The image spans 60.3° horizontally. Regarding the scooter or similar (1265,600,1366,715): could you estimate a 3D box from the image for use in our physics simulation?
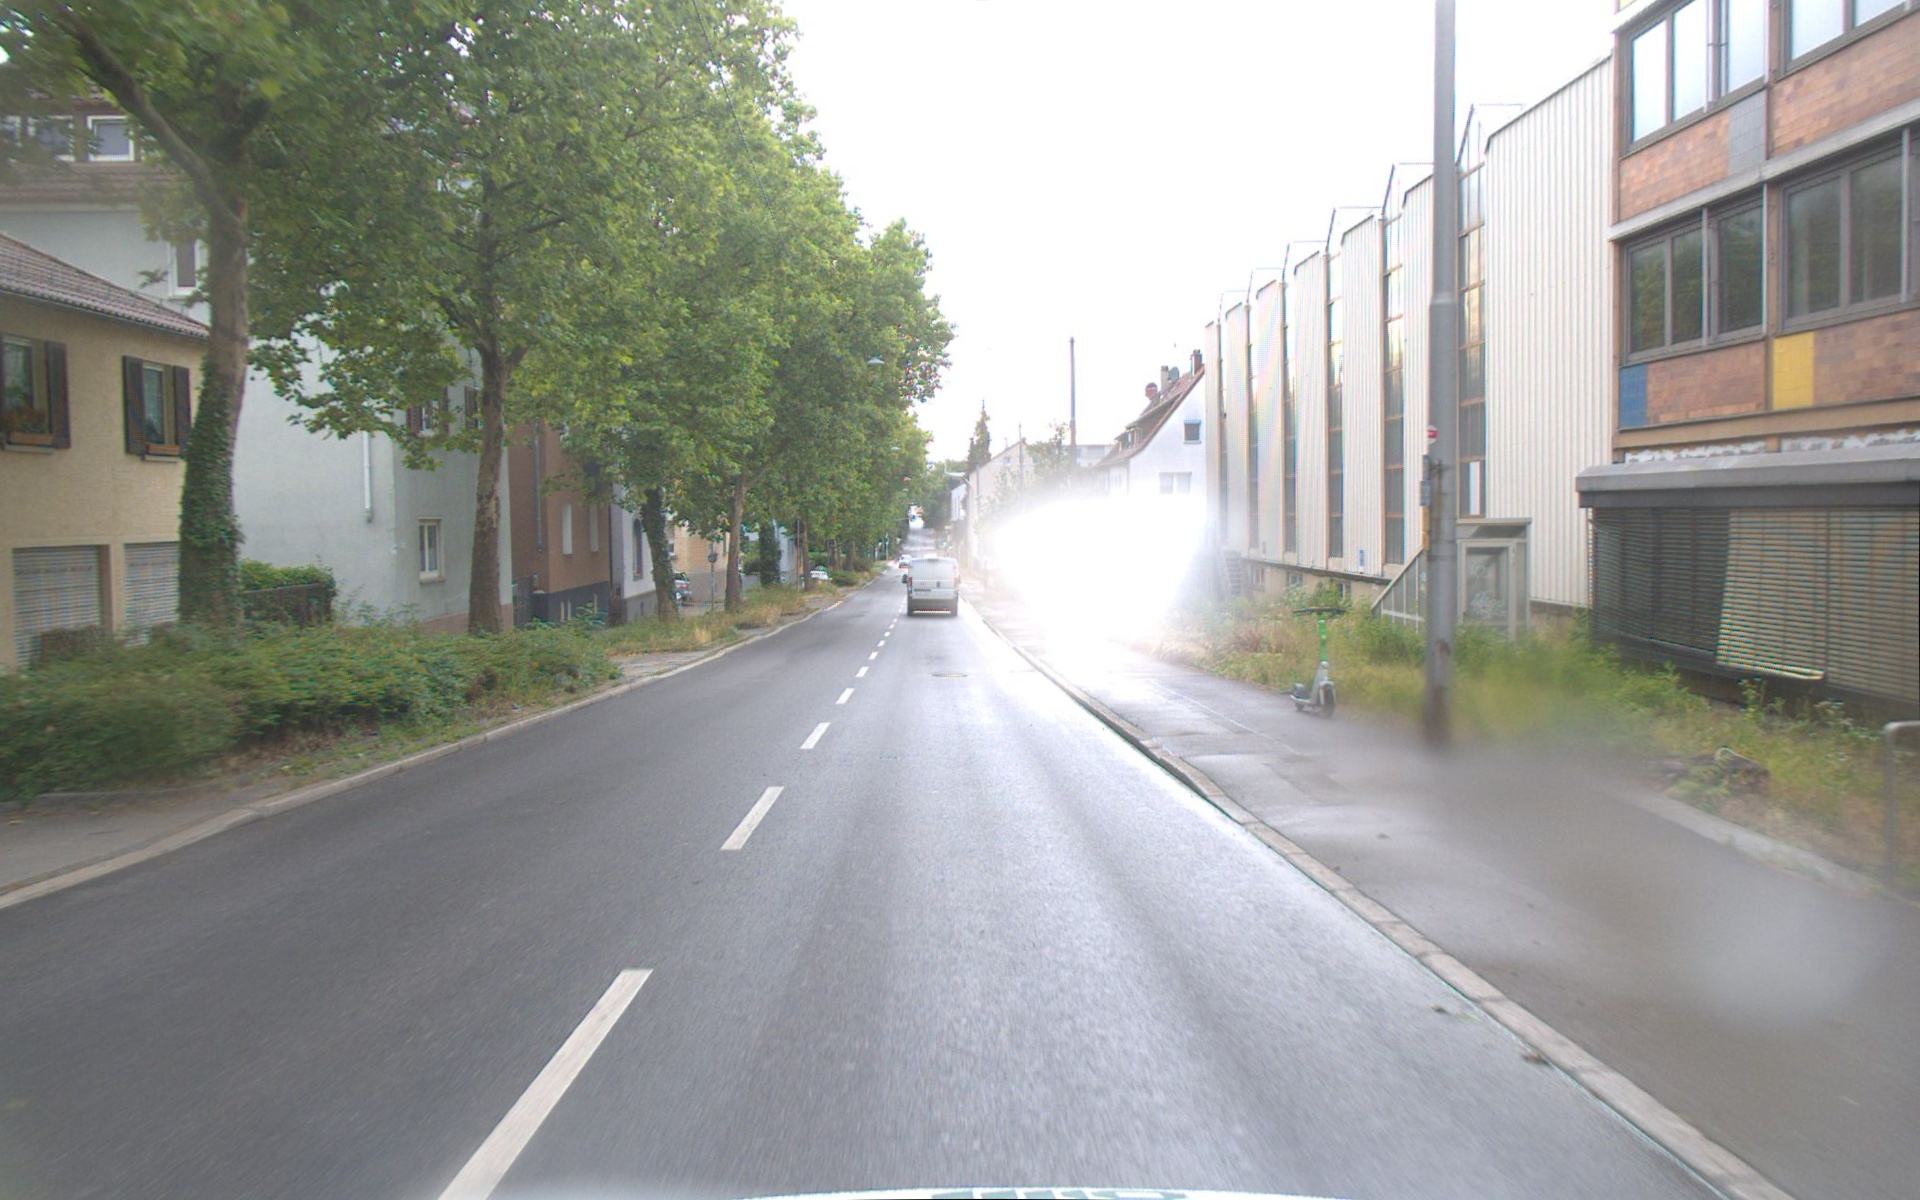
[{"bbox_3d":[3.885,0.601,18.196,0.593,1.182,1.698,-1,1,-5],"label":"scooter or similar"}]

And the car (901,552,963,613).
[{"bbox_3d":[-1.168,-0.736,66.456,2.300,2.197,4.776,-2,3,-3],"label":"car"}]

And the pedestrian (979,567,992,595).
[{"bbox_3d":[1.616,-1.190,104.117,0.799,1.727,0.729,0,1,1],"label":"pedestrian"}]

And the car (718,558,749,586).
[{"bbox_3d":[-17.205,-2.145,125.593,1.837,1.927,4.000,-1,2,-1],"label":"car"}]

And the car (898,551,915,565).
[{"bbox_3d":[-6.554,-5.109,202.049,1.954,1.738,4.256,0,1,-4],"label":"car"}]

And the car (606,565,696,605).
[{"bbox_3d":[-15.284,-0.762,81.923,4.112,1.924,1.999,-1,1,-2],"label":"car"}]

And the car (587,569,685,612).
[{"bbox_3d":[-14.908,-0.455,76.343,4.112,1.924,1.999,-1,1,-2],"label":"car"}]
